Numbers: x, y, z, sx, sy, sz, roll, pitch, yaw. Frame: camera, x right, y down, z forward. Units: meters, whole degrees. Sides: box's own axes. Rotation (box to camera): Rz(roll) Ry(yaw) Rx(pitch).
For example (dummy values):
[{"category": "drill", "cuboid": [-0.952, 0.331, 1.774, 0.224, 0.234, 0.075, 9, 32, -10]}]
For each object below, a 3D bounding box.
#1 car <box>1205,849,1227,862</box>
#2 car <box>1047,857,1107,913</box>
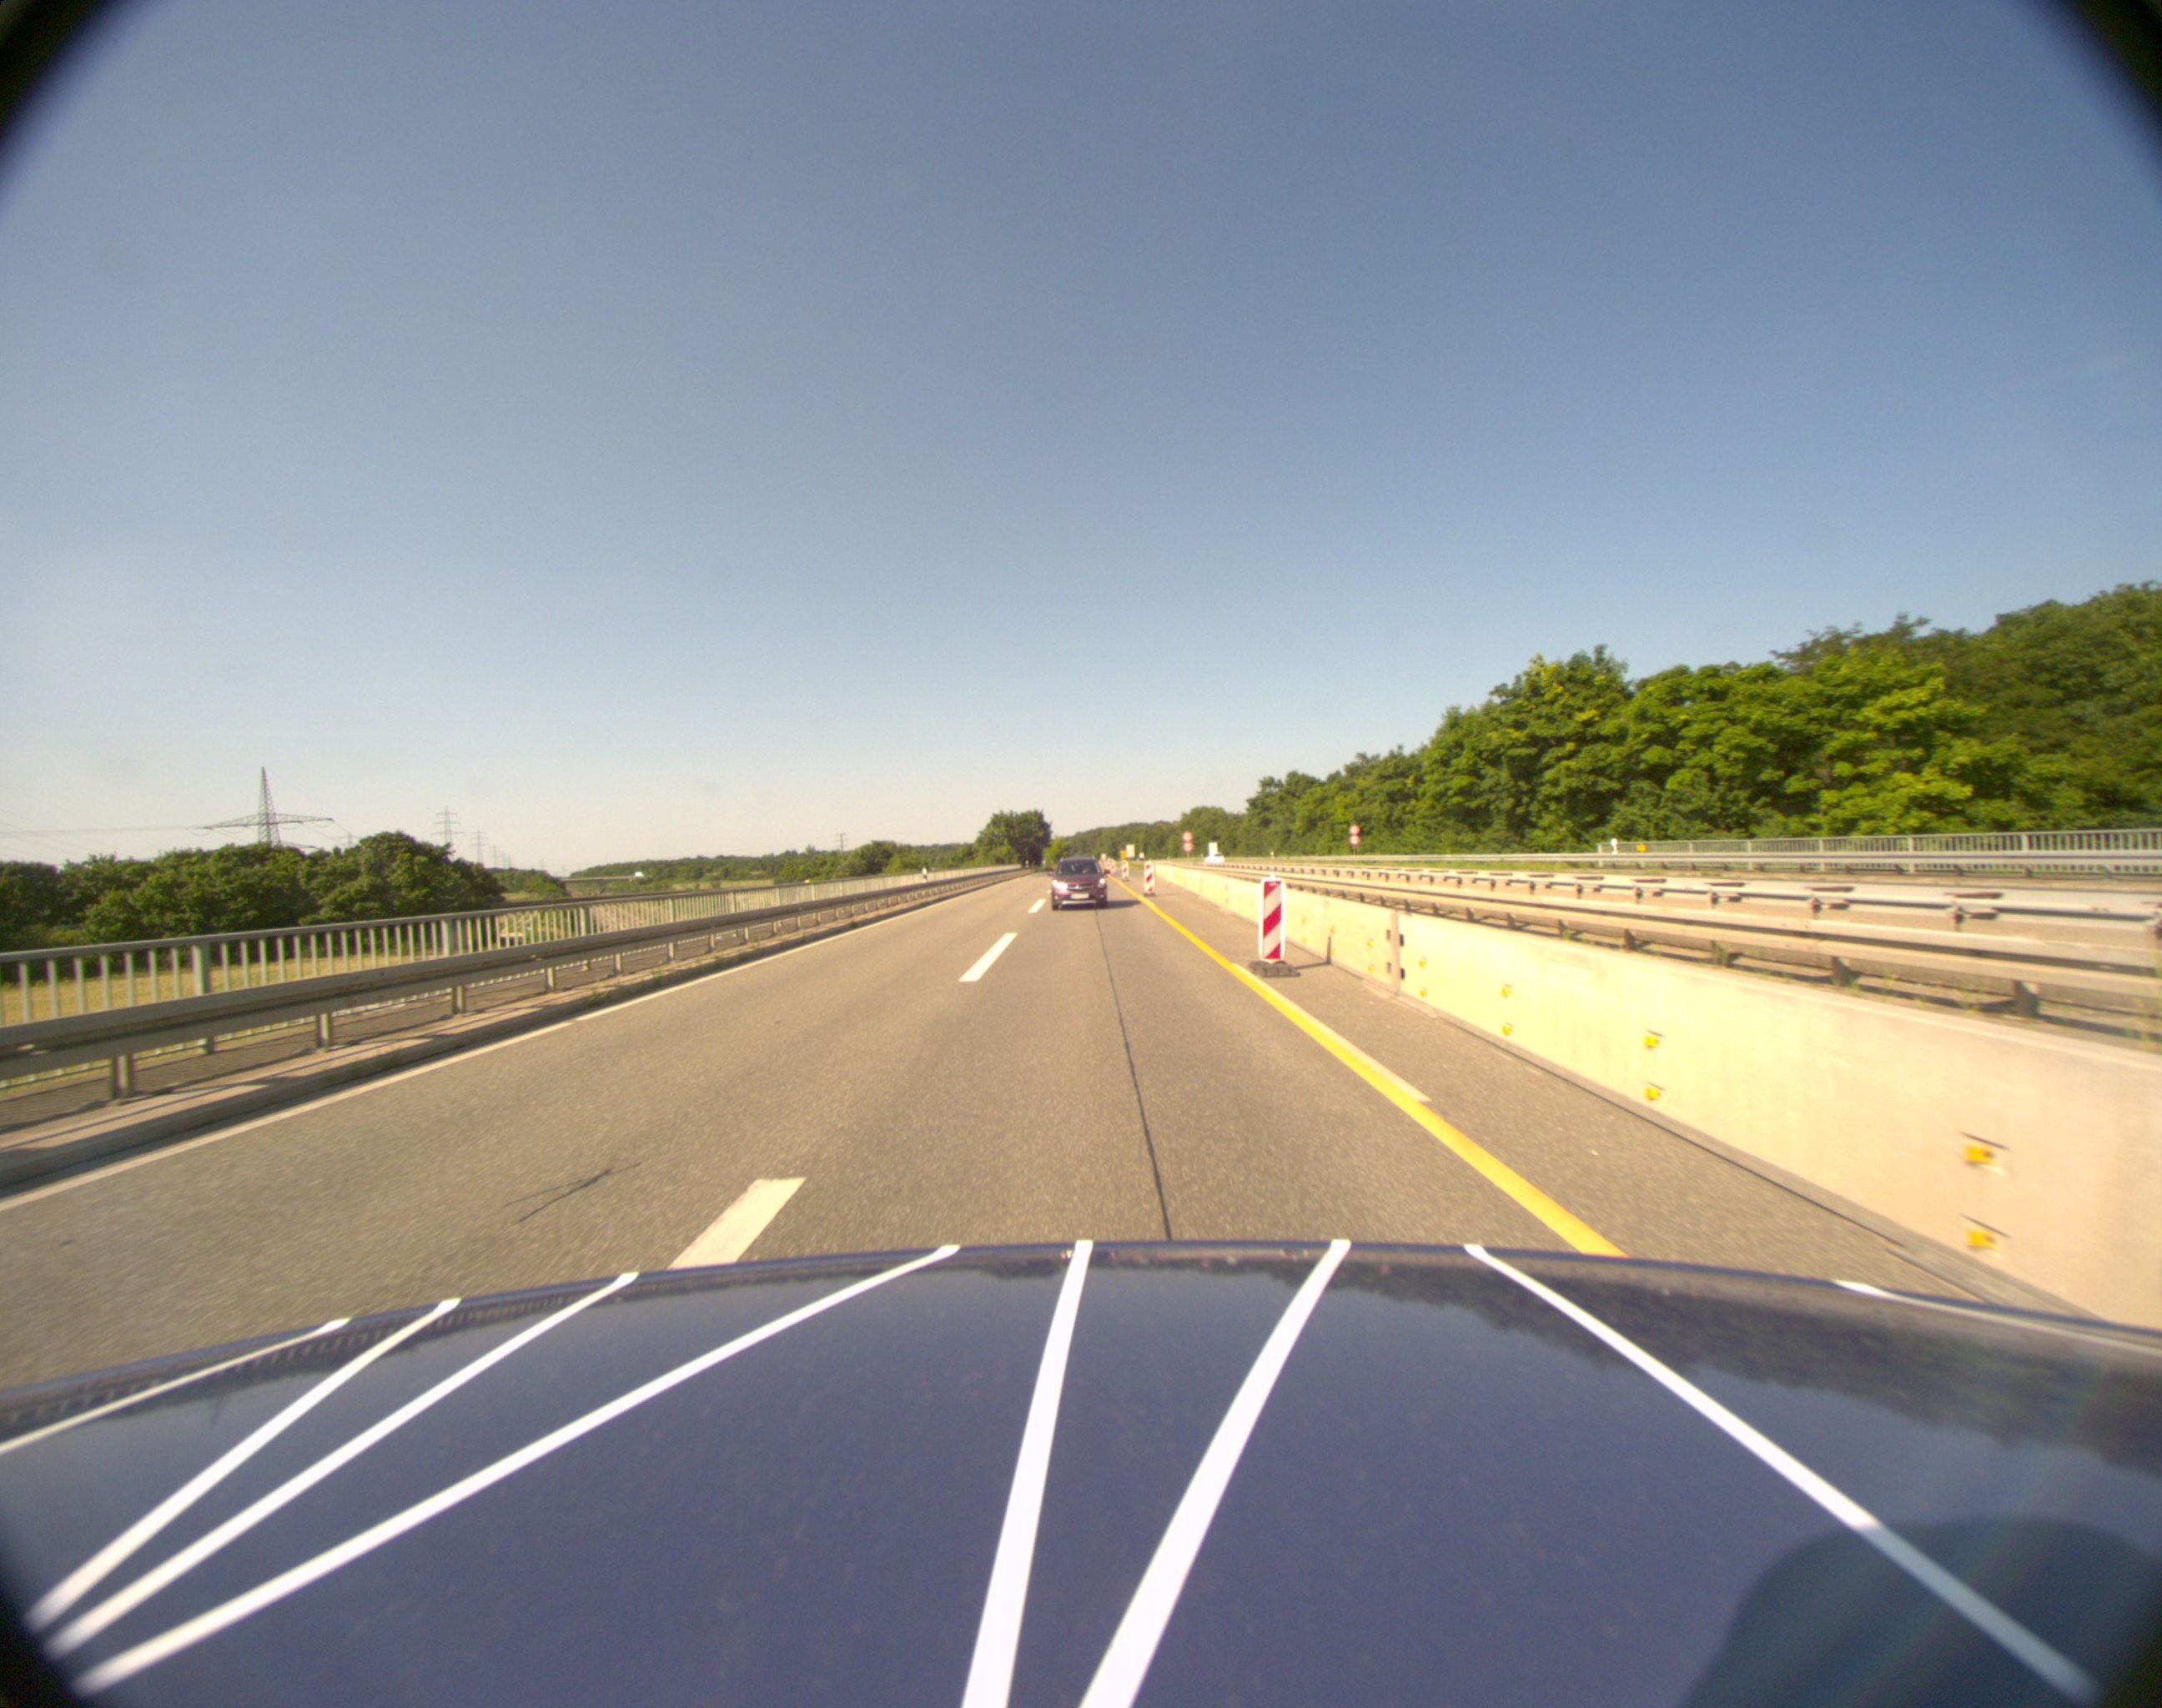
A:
[{"category": "car", "cuboid": [15.428, 0.132, 87.023, 1.744, 1.331, 4.551, -2, 0, 1]}, {"category": "car", "cuboid": [-0.029, 0.872, 23.233, 1.587, 1.491, 4.416, -2, 0, 2]}]
